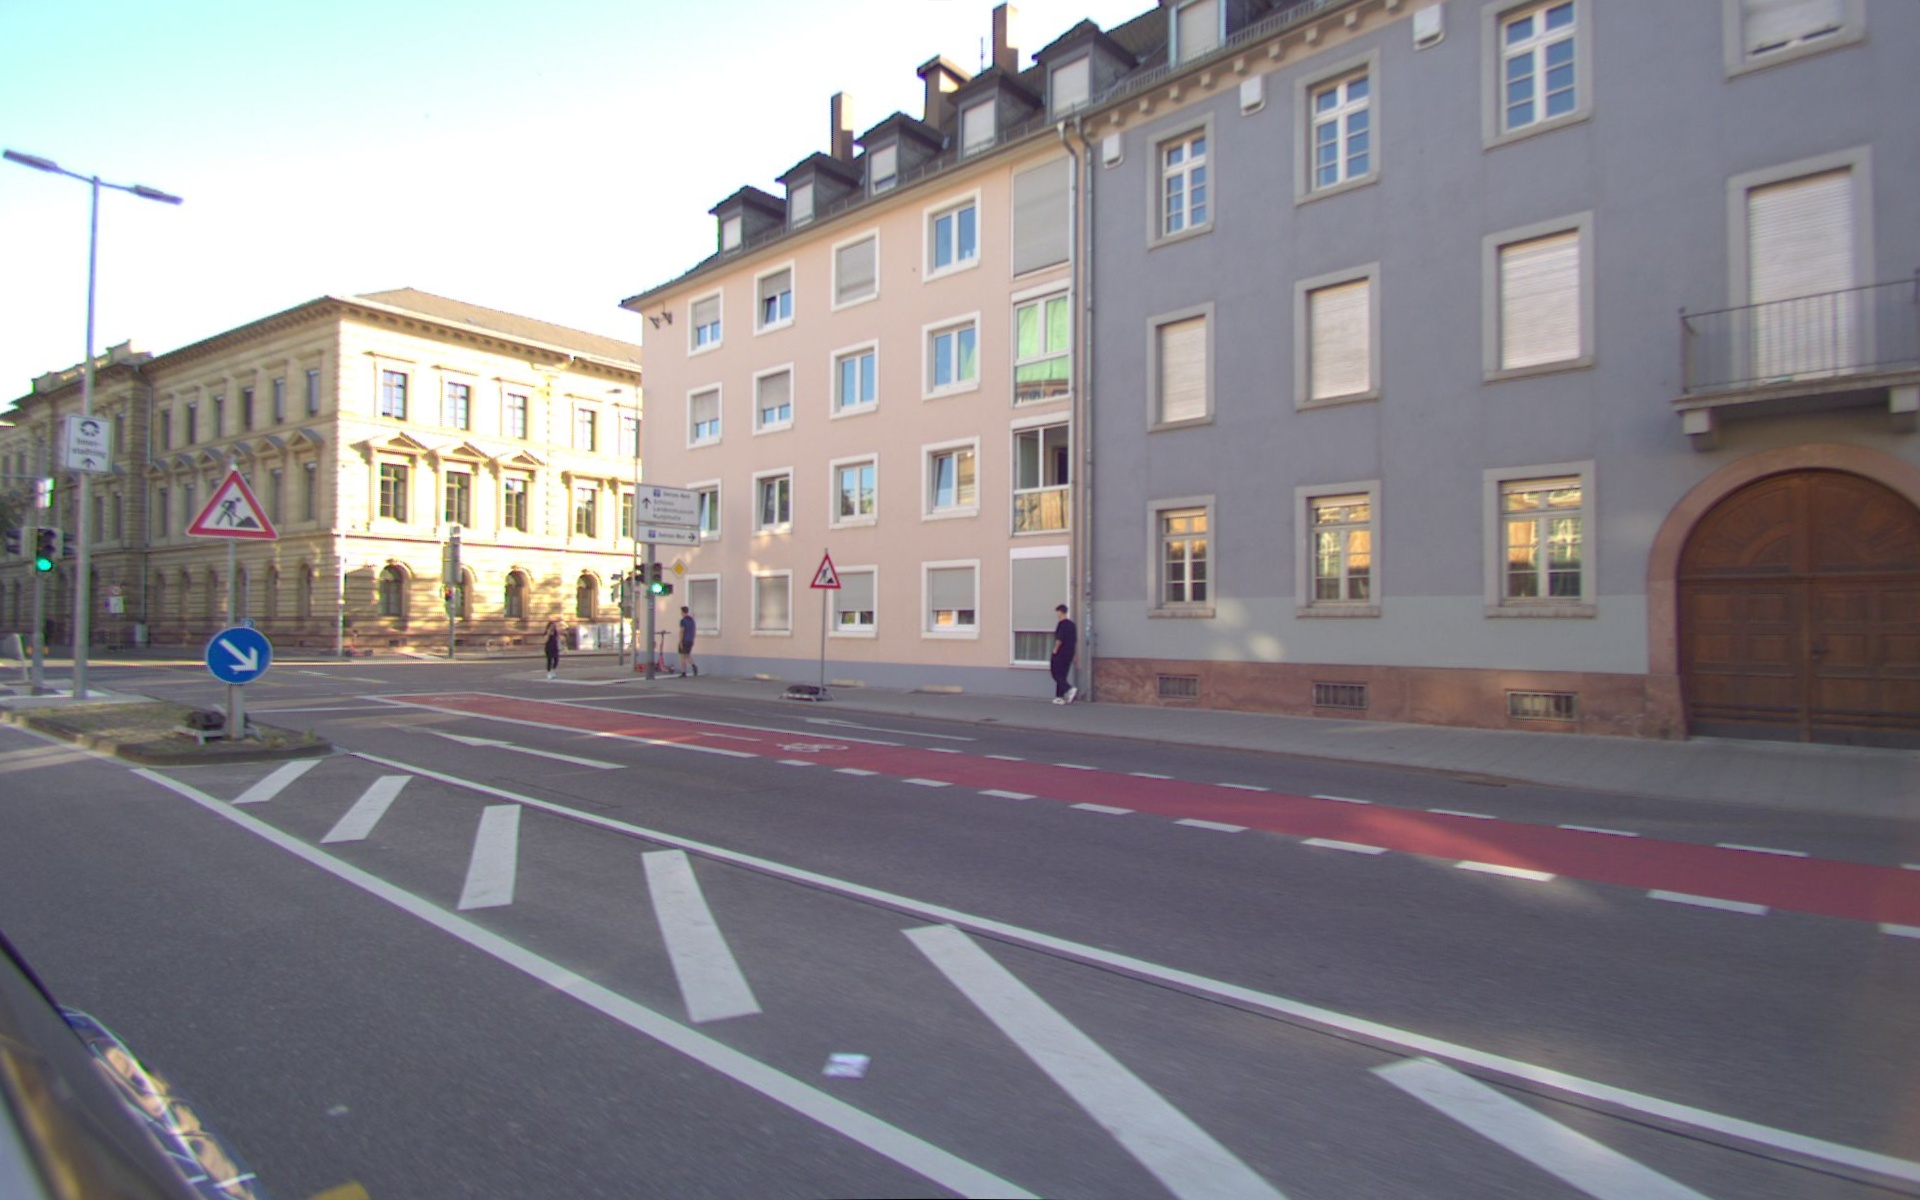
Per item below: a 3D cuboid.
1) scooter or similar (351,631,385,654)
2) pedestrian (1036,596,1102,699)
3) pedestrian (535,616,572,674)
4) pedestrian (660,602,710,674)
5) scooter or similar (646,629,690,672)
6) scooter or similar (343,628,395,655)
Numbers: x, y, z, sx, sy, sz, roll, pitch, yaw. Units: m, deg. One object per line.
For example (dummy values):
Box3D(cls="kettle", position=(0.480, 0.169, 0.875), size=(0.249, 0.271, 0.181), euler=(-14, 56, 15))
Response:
Box3D(cls="scooter or similar", position=(-27.664, 1.999, 47.305), size=(0.392, 1.060, 1.314), euler=(-1, -2, 38))
Box3D(cls="pedestrian", position=(2.045, 0.874, 19.018), size=(1.013, 1.860, 0.624), euler=(-1, 1, 42))
Box3D(cls="pedestrian", position=(-11.542, 1.261, 28.727), size=(0.818, 1.595, 0.625), euler=(-1, 1, 42))
Box3D(cls="pedestrian", position=(-7.390, 1.007, 27.223), size=(1.015, 1.877, 0.858), euler=(-2, 0, 43))
Box3D(cls="scooter or similar", position=(-8.411, 1.432, 29.122), size=(1.474, 1.194, 0.527), euler=(-2, -1, 44))
Box3D(cls="scooter or similar", position=(-27.149, 1.892, 46.505), size=(1.998, 1.197, 0.457), euler=(1, -2, -27))
